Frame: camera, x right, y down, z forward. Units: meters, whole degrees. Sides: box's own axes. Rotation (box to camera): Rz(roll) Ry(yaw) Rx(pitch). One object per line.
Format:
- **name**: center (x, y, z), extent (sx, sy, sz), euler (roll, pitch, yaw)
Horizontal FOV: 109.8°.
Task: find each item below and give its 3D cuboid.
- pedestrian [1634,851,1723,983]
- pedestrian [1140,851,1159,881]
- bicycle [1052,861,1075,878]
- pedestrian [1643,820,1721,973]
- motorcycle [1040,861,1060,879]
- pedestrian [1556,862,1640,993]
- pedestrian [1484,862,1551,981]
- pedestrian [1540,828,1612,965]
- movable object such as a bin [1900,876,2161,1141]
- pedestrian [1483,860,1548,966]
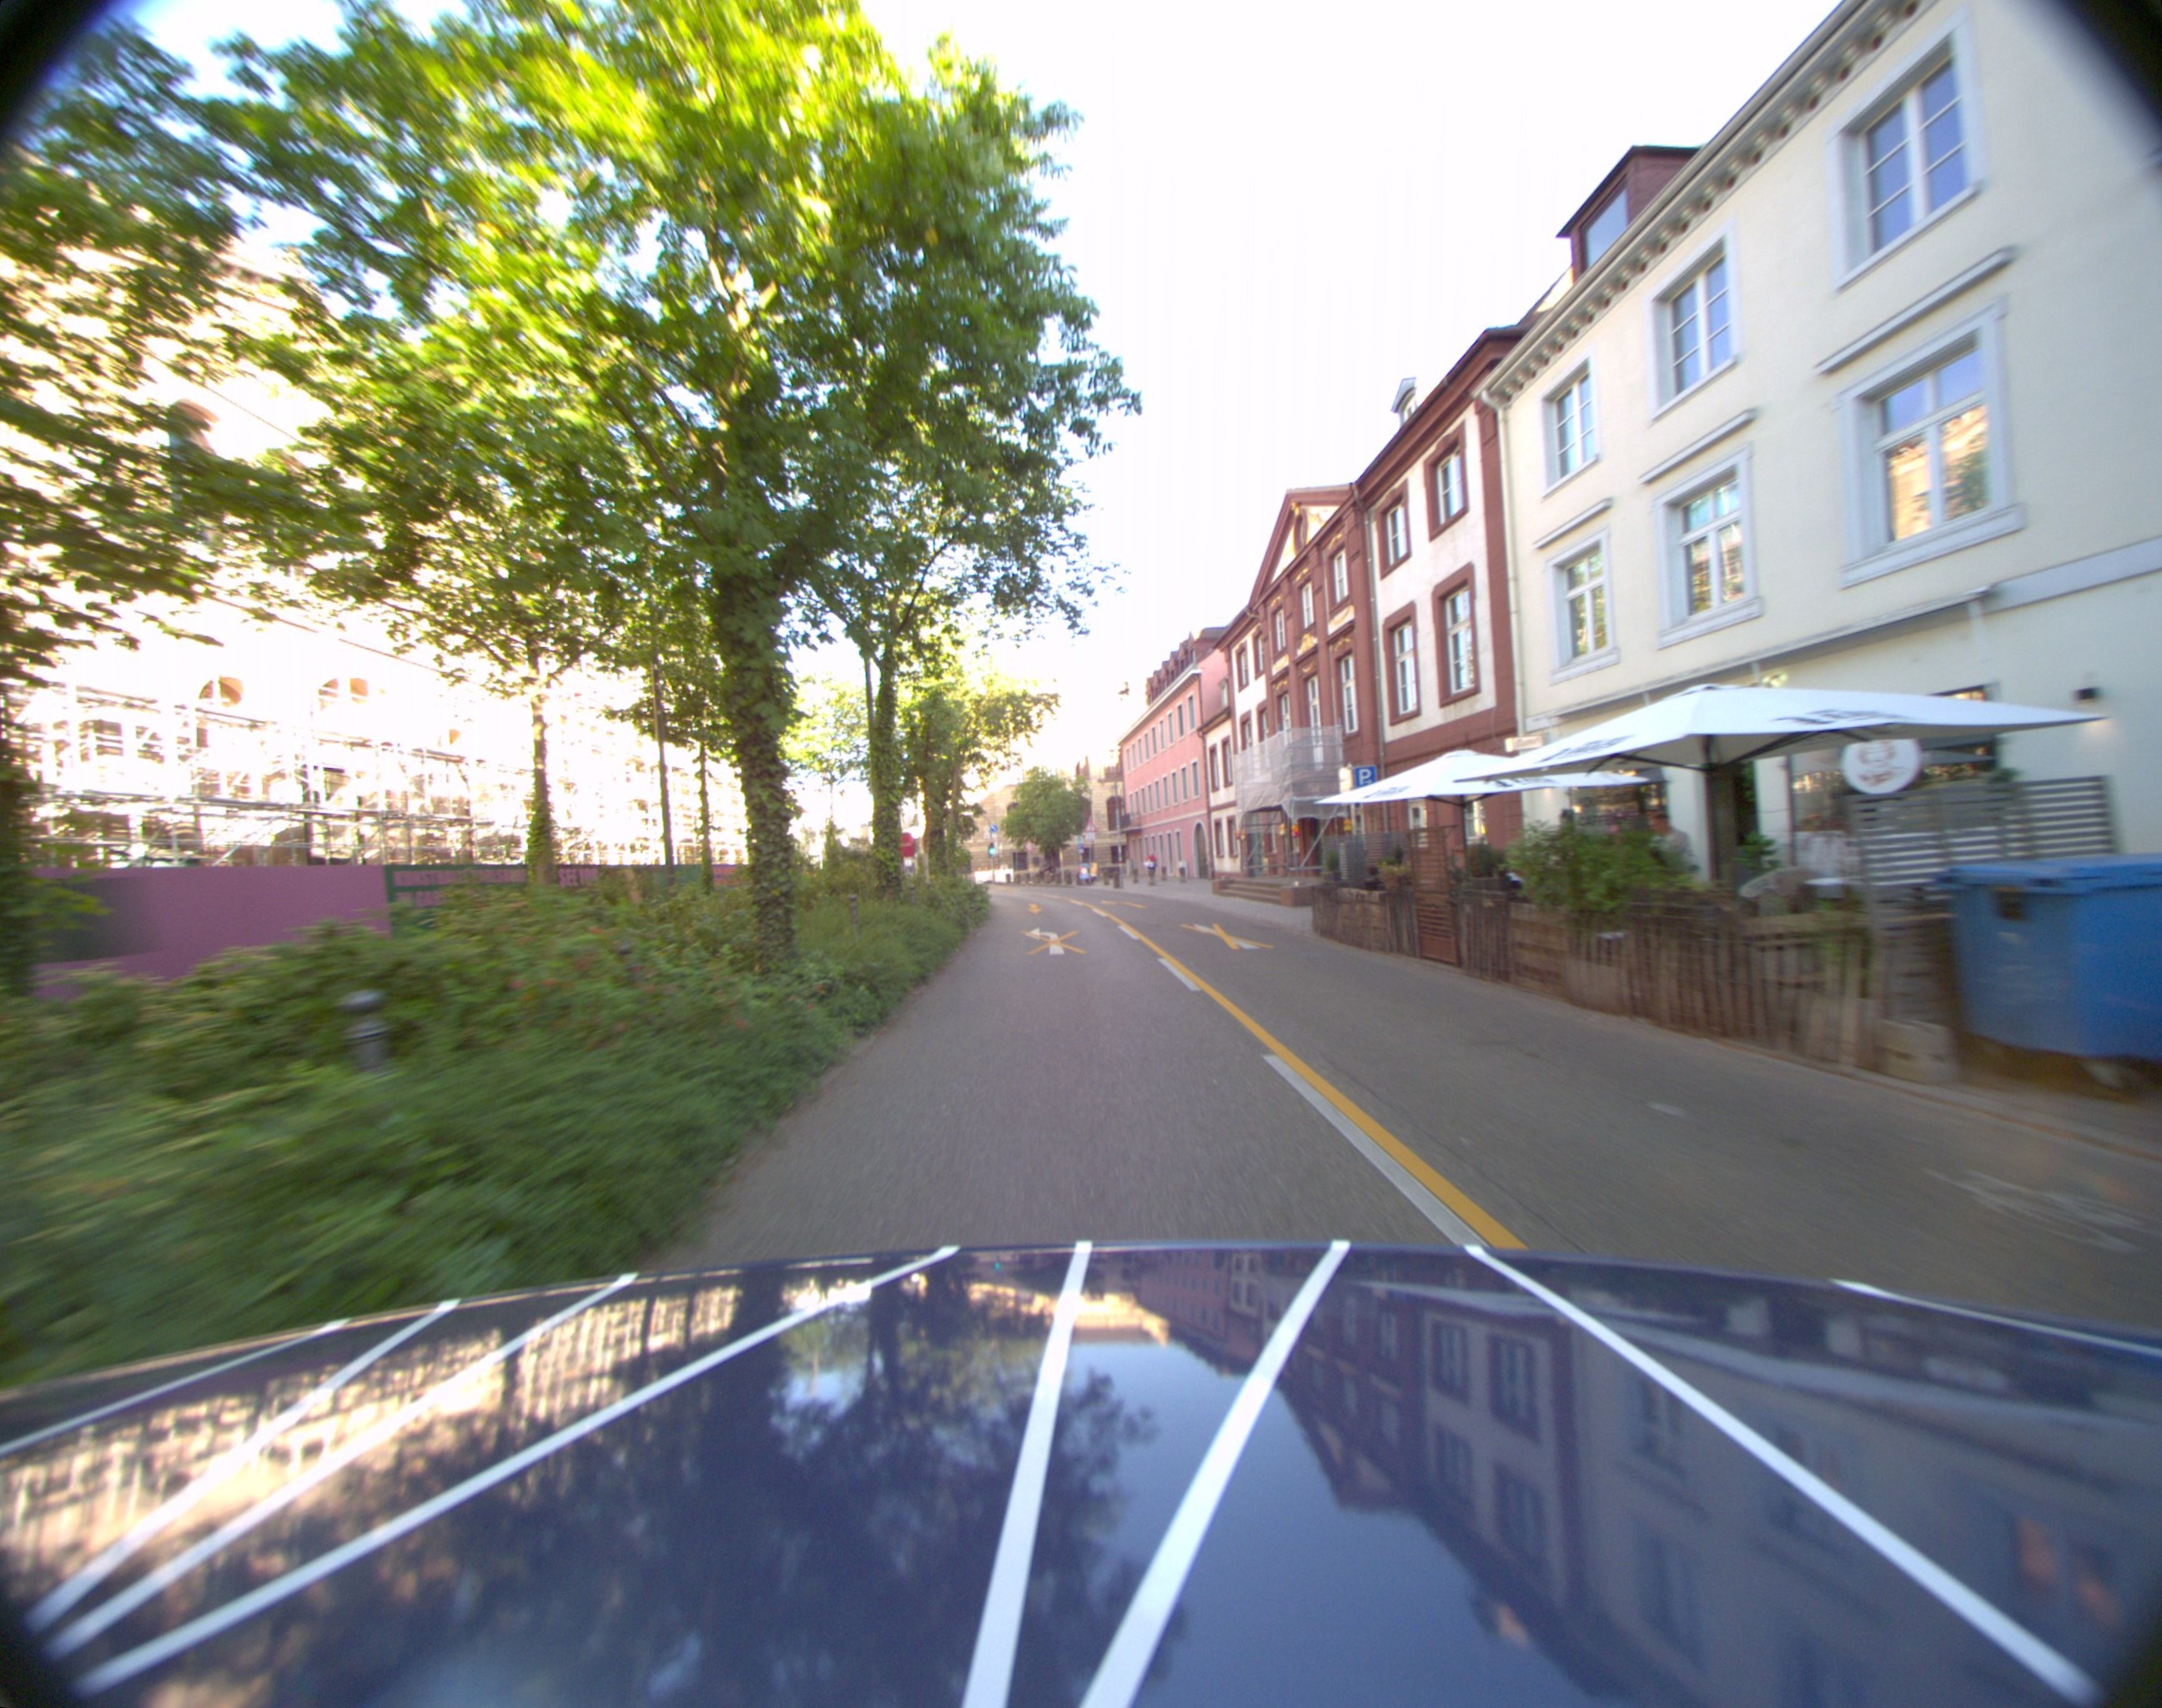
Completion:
- **pedestrian**: center (6.569, 0.671, 8.368), extent (0.525, 1.383, 0.488), euler (-4, 1, -6)
- **pedestrian**: center (4.038, 0.725, 44.843), extent (0.793, 1.679, 0.868), euler (-5, 1, -6)
- **bicycle**: center (-1.339, 1.193, 58.857), extent (0.681, 1.199, 2.009), euler (-1, 0, 38)
- **pedestrian**: center (7.238, 0.499, 9.174), extent (0.438, 1.764, 0.598), euler (-3, 1, 10)
- **motorcycle**: center (-2.336, 1.219, 56.765), extent (0.815, 1.309, 2.333), euler (-3, 0, -20)
- **pedestrian**: center (5.784, 0.802, 8.512), extent (0.525, 1.383, 0.488), euler (-4, 1, -6)
- **pedestrian**: center (5.477, 0.831, 9.556), extent (0.472, 1.425, 0.502), euler (-4, 1, 2)
- **pedestrian**: center (6.592, 0.559, 10.136), extent (0.597, 1.764, 0.439), euler (-3, 1, 5)
- **movable object such as a bin**: center (5.865, 0.817, 4.389), extent (1.219, 1.288, 0.930), euler (-3, 1, 2)
- **pedestrian**: center (5.926, 0.791, 10.379), extent (0.525, 1.383, 0.488), euler (-4, 1, -6)
